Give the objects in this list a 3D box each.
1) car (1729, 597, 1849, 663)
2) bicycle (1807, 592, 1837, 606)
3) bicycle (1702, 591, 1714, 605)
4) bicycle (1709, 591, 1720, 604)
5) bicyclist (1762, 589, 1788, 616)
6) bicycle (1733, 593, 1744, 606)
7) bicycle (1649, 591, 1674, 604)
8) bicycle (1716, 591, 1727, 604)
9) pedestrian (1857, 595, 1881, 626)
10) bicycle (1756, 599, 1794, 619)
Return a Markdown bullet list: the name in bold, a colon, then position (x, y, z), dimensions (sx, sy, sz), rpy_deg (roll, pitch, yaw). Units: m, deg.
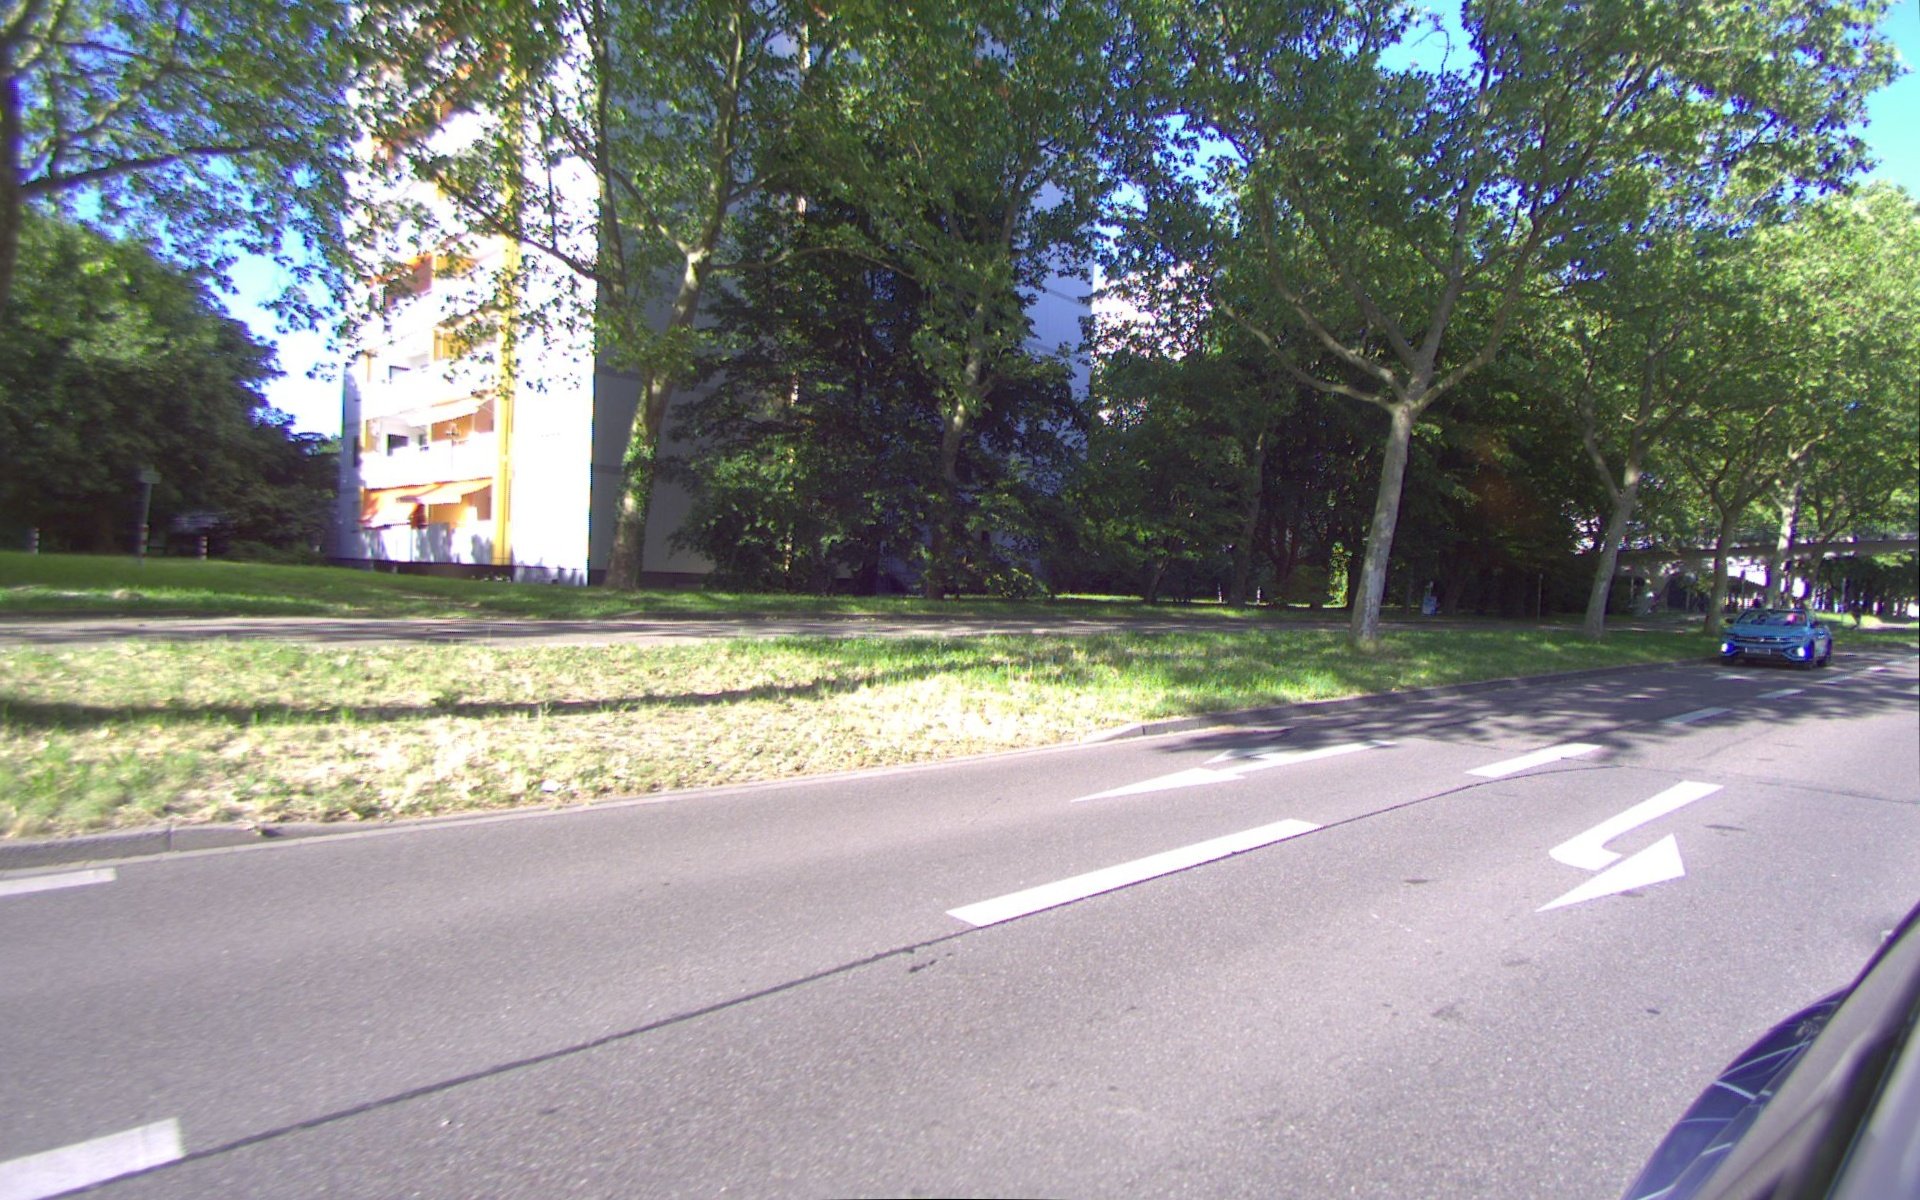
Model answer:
- **car**: position (21.034, 0.723, 25.636), dimensions (4.029, 1.502, 1.778), rpy_deg (1, 0, -42)
- **bicycle**: position (80.217, -0.131, 94.185), dimensions (2.062, 1.172, 0.554), rpy_deg (4, 3, 38)
- **bicycle**: position (68.750, -0.211, 93.014), dimensions (1.776, 1.269, 0.576), rpy_deg (0, 1, -44)
- **bicycle**: position (71.458, -0.232, 95.873), dimensions (1.776, 1.269, 0.576), rpy_deg (0, 1, -44)
- **bicyclist**: position (54.117, 0.165, 67.182), dimensions (0.798, 1.652, 0.958), rpy_deg (3, 2, -6)
- **bicycle**: position (75.003, -0.054, 97.477), dimensions (1.776, 1.269, 0.576), rpy_deg (0, 1, -44)
- **bicycle**: position (65.315, -0.259, 94.230), dimensions (1.799, 1.129, 0.700), rpy_deg (3, 3, 41)
- **bicycle**: position (75.804, -0.287, 100.720), dimensions (1.776, 1.269, 0.576), rpy_deg (0, 1, -44)
- **pedestrian**: position (53.326, 0.626, 59.379), dimensions (0.725, 1.800, 0.661), rpy_deg (2, 0, -5)
- **bicycle**: position (54.098, 0.581, 67.186), dimensions (0.798, 1.160, 1.840), rpy_deg (4, 3, -6)
